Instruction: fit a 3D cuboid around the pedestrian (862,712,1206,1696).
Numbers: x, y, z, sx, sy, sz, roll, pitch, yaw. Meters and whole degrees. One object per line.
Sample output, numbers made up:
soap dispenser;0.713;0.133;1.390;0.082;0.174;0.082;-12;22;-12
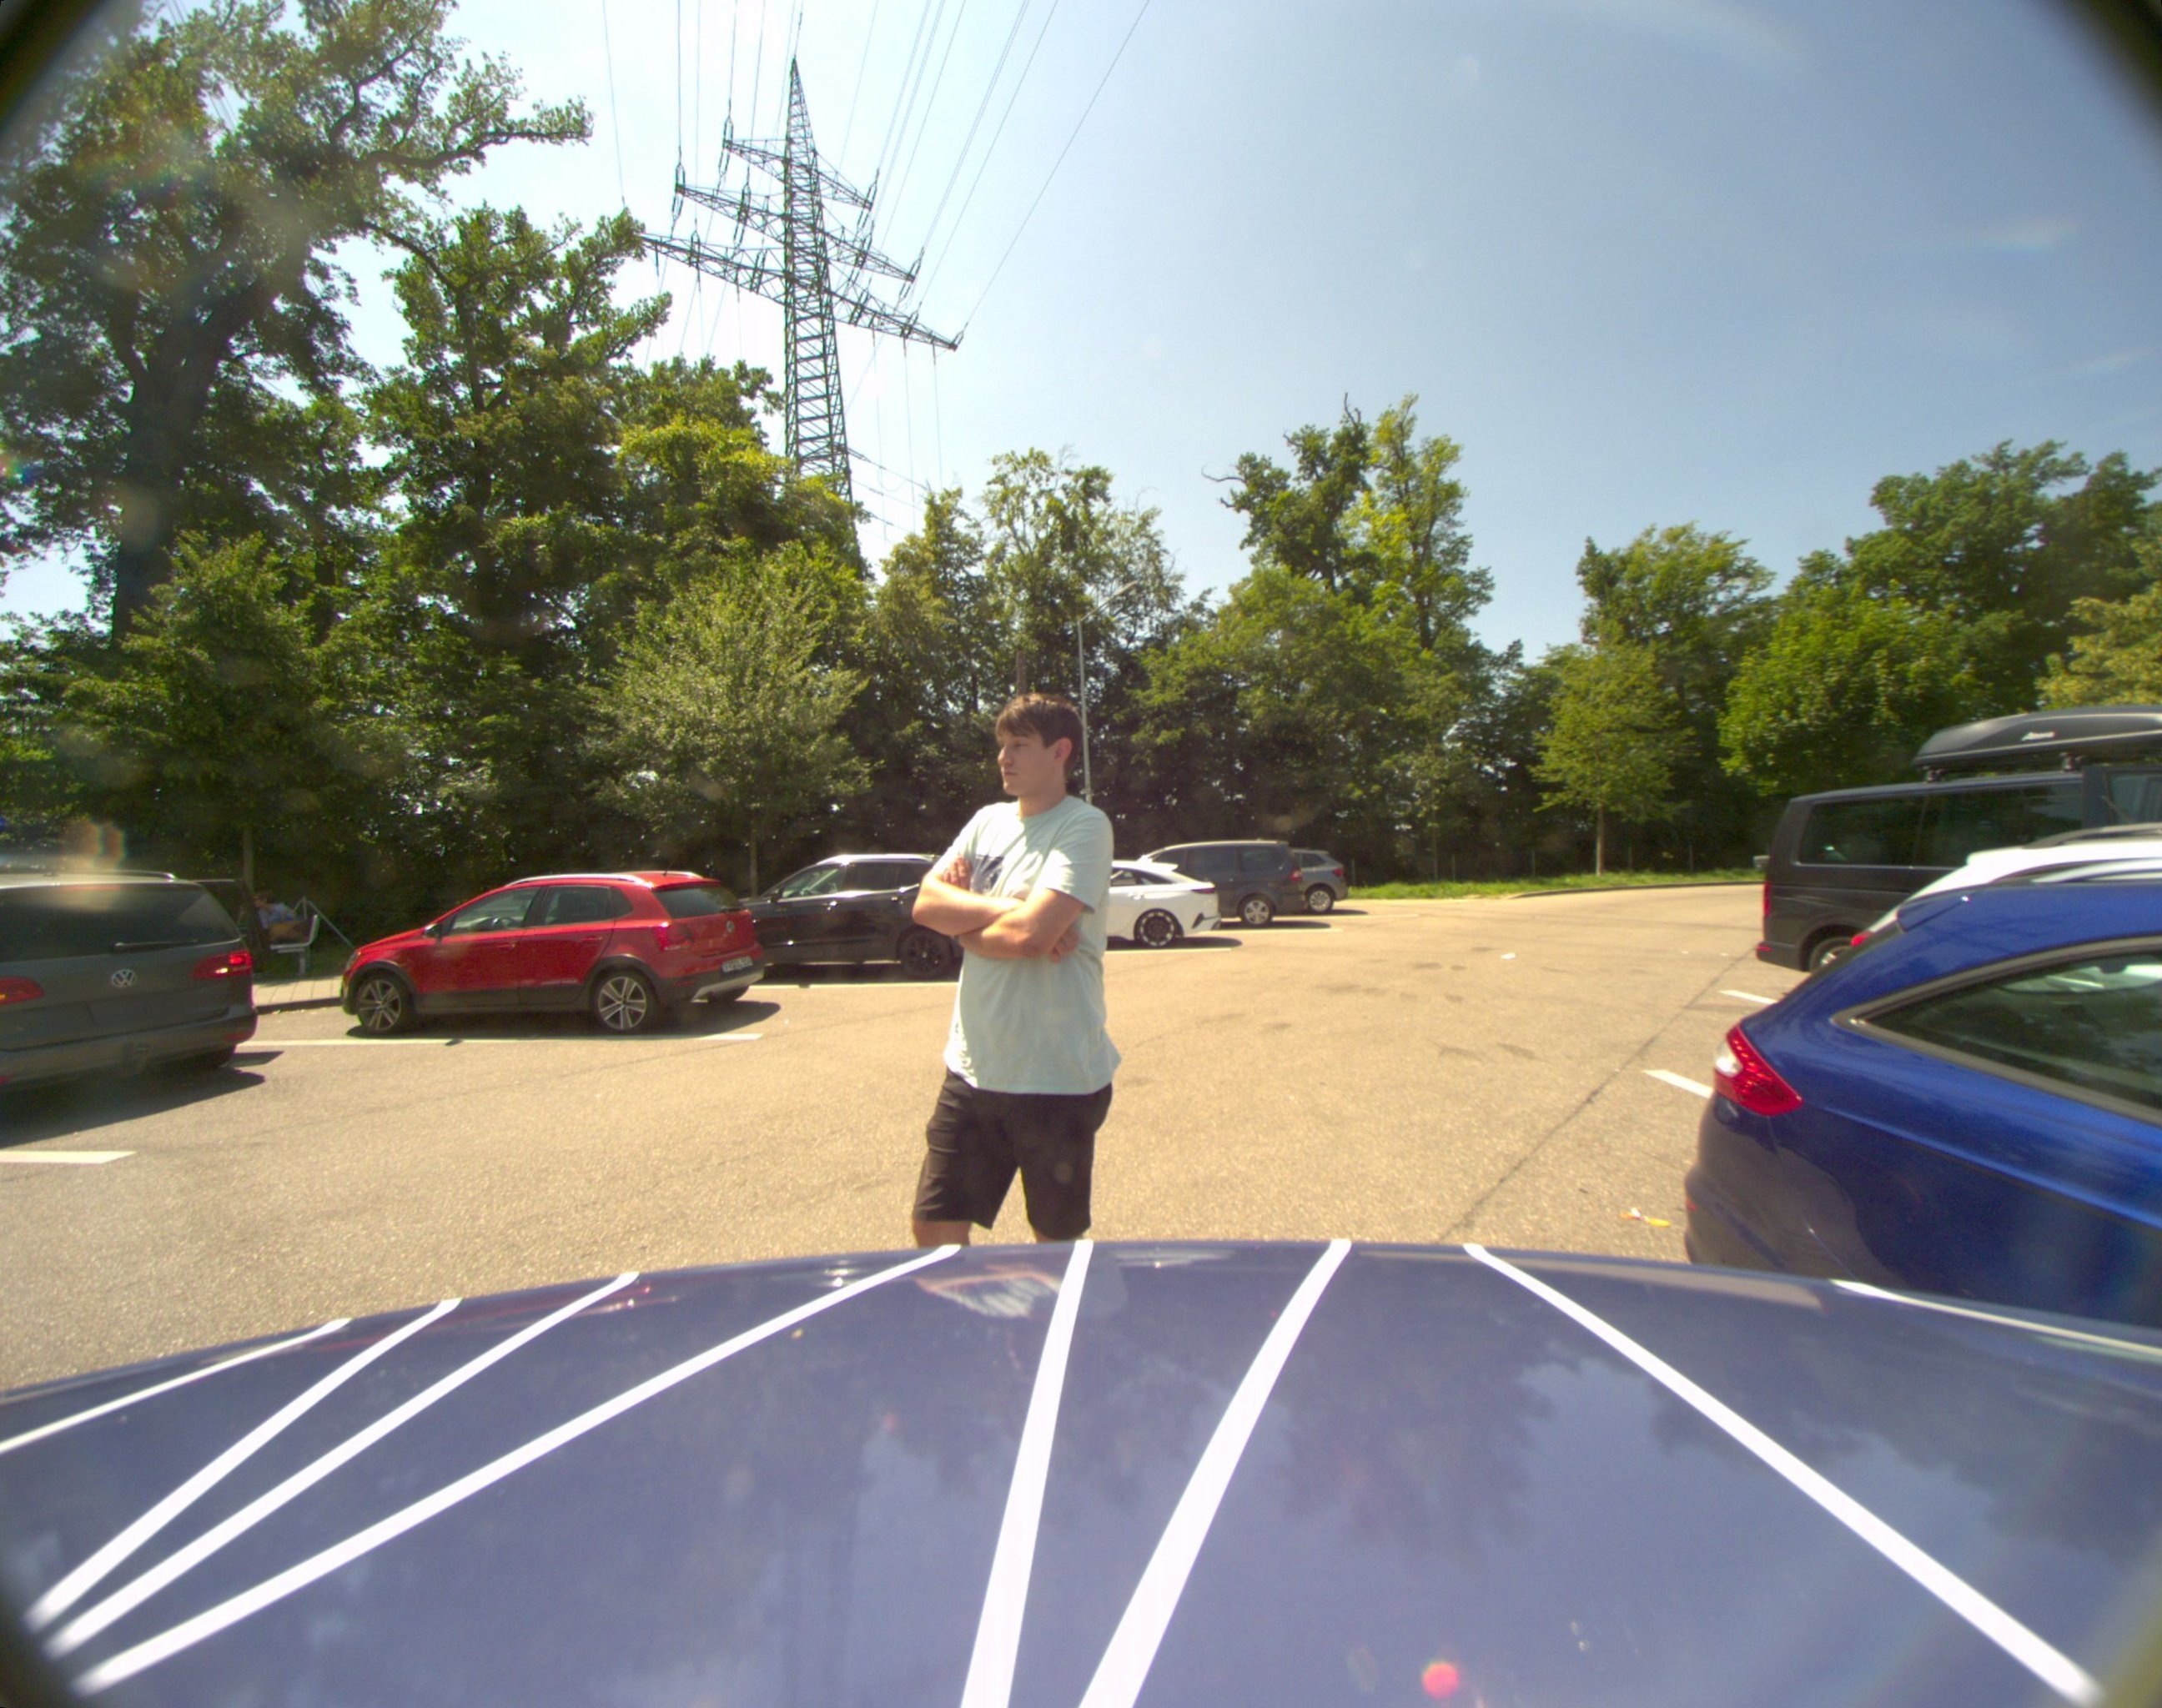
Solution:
pedestrian;-0.176;0.658;1.884;0.634;1.857;0.747;-2;0;-17

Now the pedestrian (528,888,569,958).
pedestrian;-10.169;1.300;14.508;0.490;1.291;0.506;-2;0;41

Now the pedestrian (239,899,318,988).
pedestrian;-11.716;1.294;11.099;0.680;1.211;0.675;-4;-2;36

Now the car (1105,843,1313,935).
car;2.509;0.682;15.467;3.882;1.680;1.882;-1;0;5

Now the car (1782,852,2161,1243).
car;4.781;0.702;2.403;1.607;1.405;3.743;-2;-1;-1

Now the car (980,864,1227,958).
car;0.407;0.909;12.716;3.805;1.359;1.803;-1;1;5

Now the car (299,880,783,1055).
car;-5.241;1.066;7.638;3.804;1.449;1.637;-1;1;7

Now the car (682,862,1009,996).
car;-3.007;0.940;10.266;3.806;1.538;1.759;-1;1;2

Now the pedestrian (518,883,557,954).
pedestrian;-10.954;1.283;15.314;0.490;1.367;0.506;-2;0;41

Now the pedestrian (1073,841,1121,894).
pedestrian;0.412;0.351;19.300;0.890;1.292;0.865;-2;0;26

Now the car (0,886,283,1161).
car;-8.342;1.096;5.422;3.950;1.581;1.753;-1;1;11

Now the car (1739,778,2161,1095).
car;7.308;0.457;5.000;2.048;1.850;4.430;-2;-1;-1

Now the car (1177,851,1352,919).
car;4.257;0.709;18.111;3.805;1.468;1.743;-1;1;5
